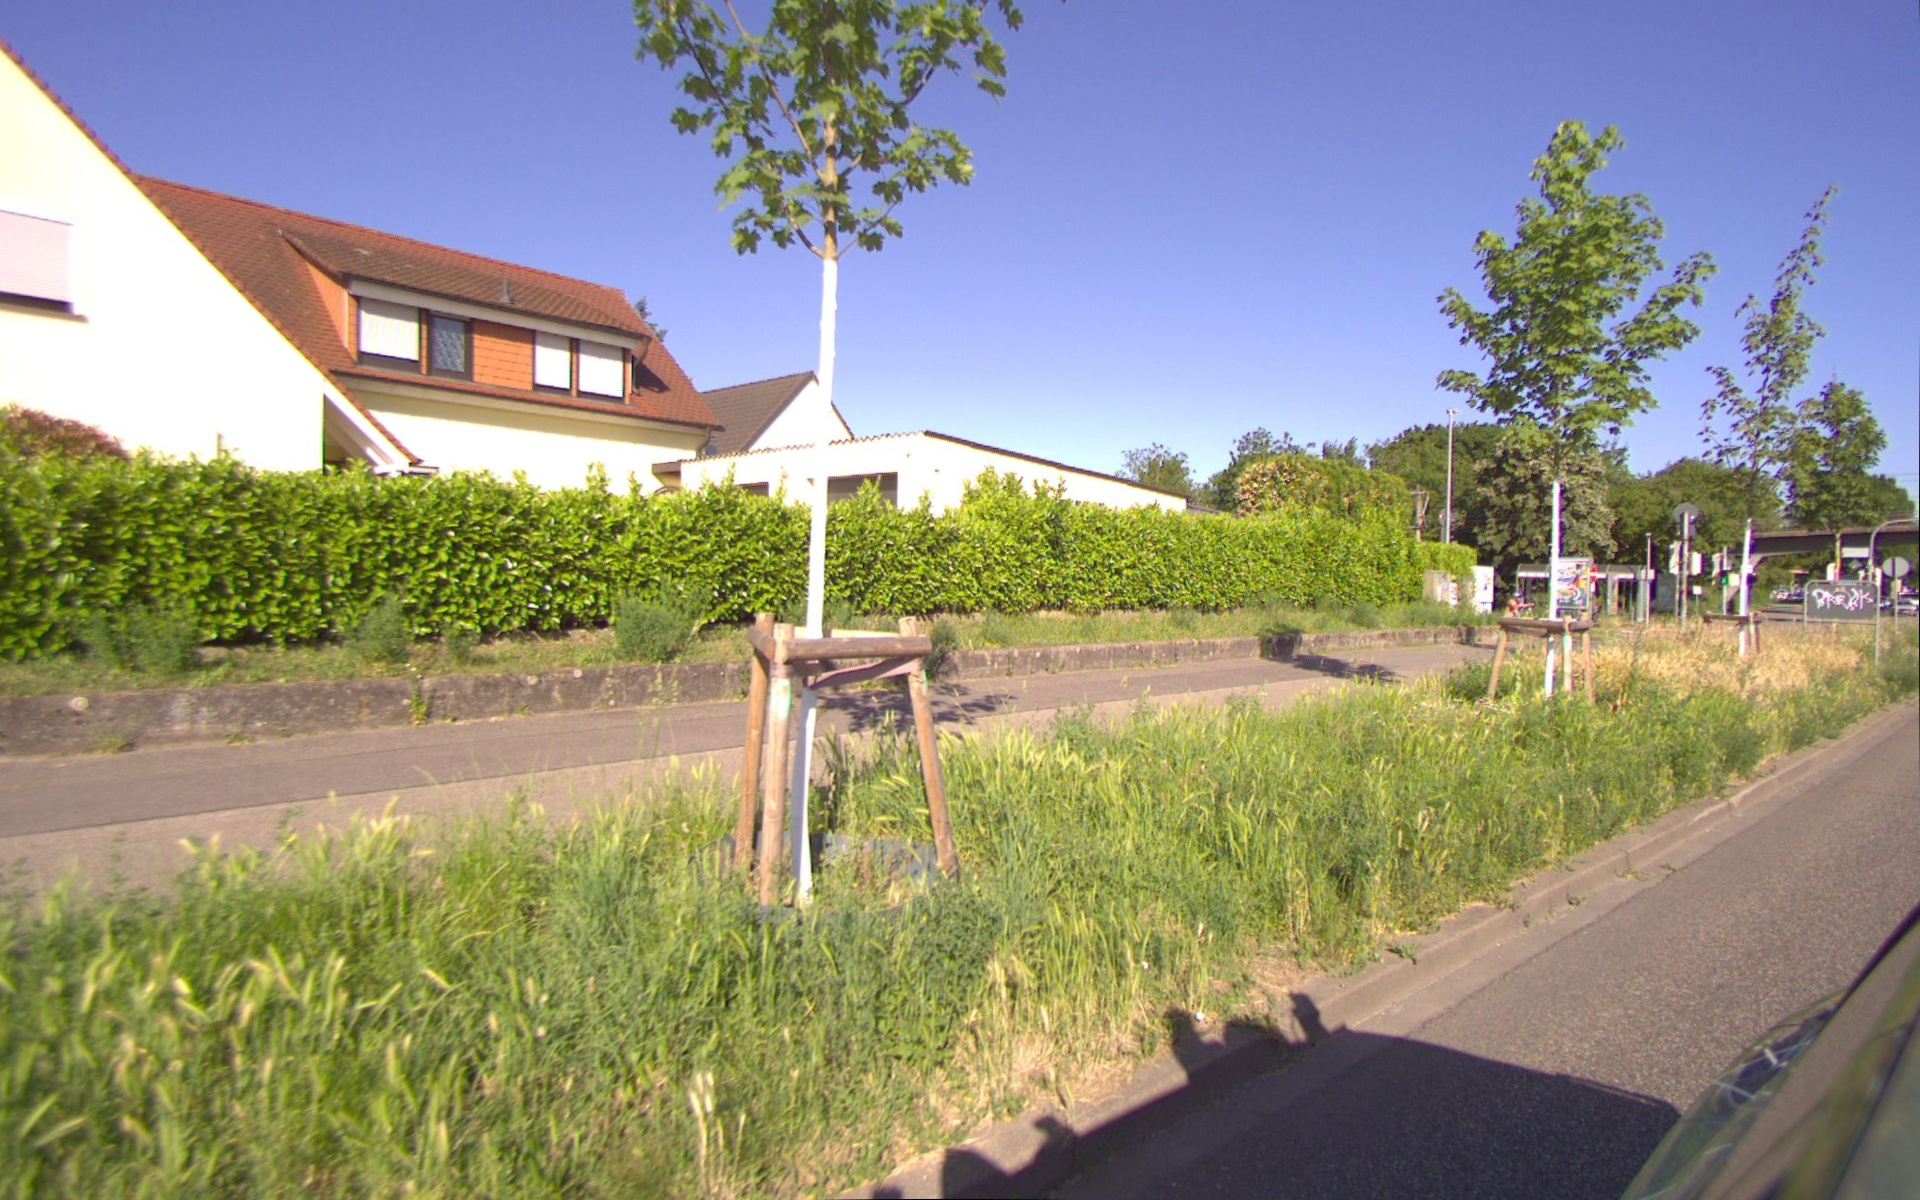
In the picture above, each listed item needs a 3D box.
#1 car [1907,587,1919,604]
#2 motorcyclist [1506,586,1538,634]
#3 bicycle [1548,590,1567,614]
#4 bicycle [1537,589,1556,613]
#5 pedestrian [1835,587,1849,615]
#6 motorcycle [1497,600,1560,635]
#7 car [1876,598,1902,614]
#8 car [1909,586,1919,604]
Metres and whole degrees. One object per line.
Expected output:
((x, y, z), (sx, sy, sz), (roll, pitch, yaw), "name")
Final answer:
((93.759, -0.471, 98.637), (1.866, 1.641, 3.780), (1, 1, 40), "car")
((18.834, 0.336, 33.920), (0.687, 1.577, 0.694), (0, 2, -41), "motorcyclist")
((31.875, 0.089, 54.010), (0.430, 1.079, 1.758), (4, 8, 44), "bicycle")
((31.534, 0.050, 54.384), (0.430, 1.079, 1.758), (4, 8, 44), "bicycle")
((53.248, 0.048, 61.109), (0.587, 1.683, 0.706), (2, 1, 40), "pedestrian")
((18.923, 0.573, 33.732), (0.443, 1.084, 1.759), (0, 2, -41), "motorcycle")
((103.173, 0.653, 112.415), (1.865, 1.641, 3.783), (1, 1, 38), "car")
((111.660, -0.548, 117.334), (1.990, 2.039, 3.945), (1, 1, 38), "car")
